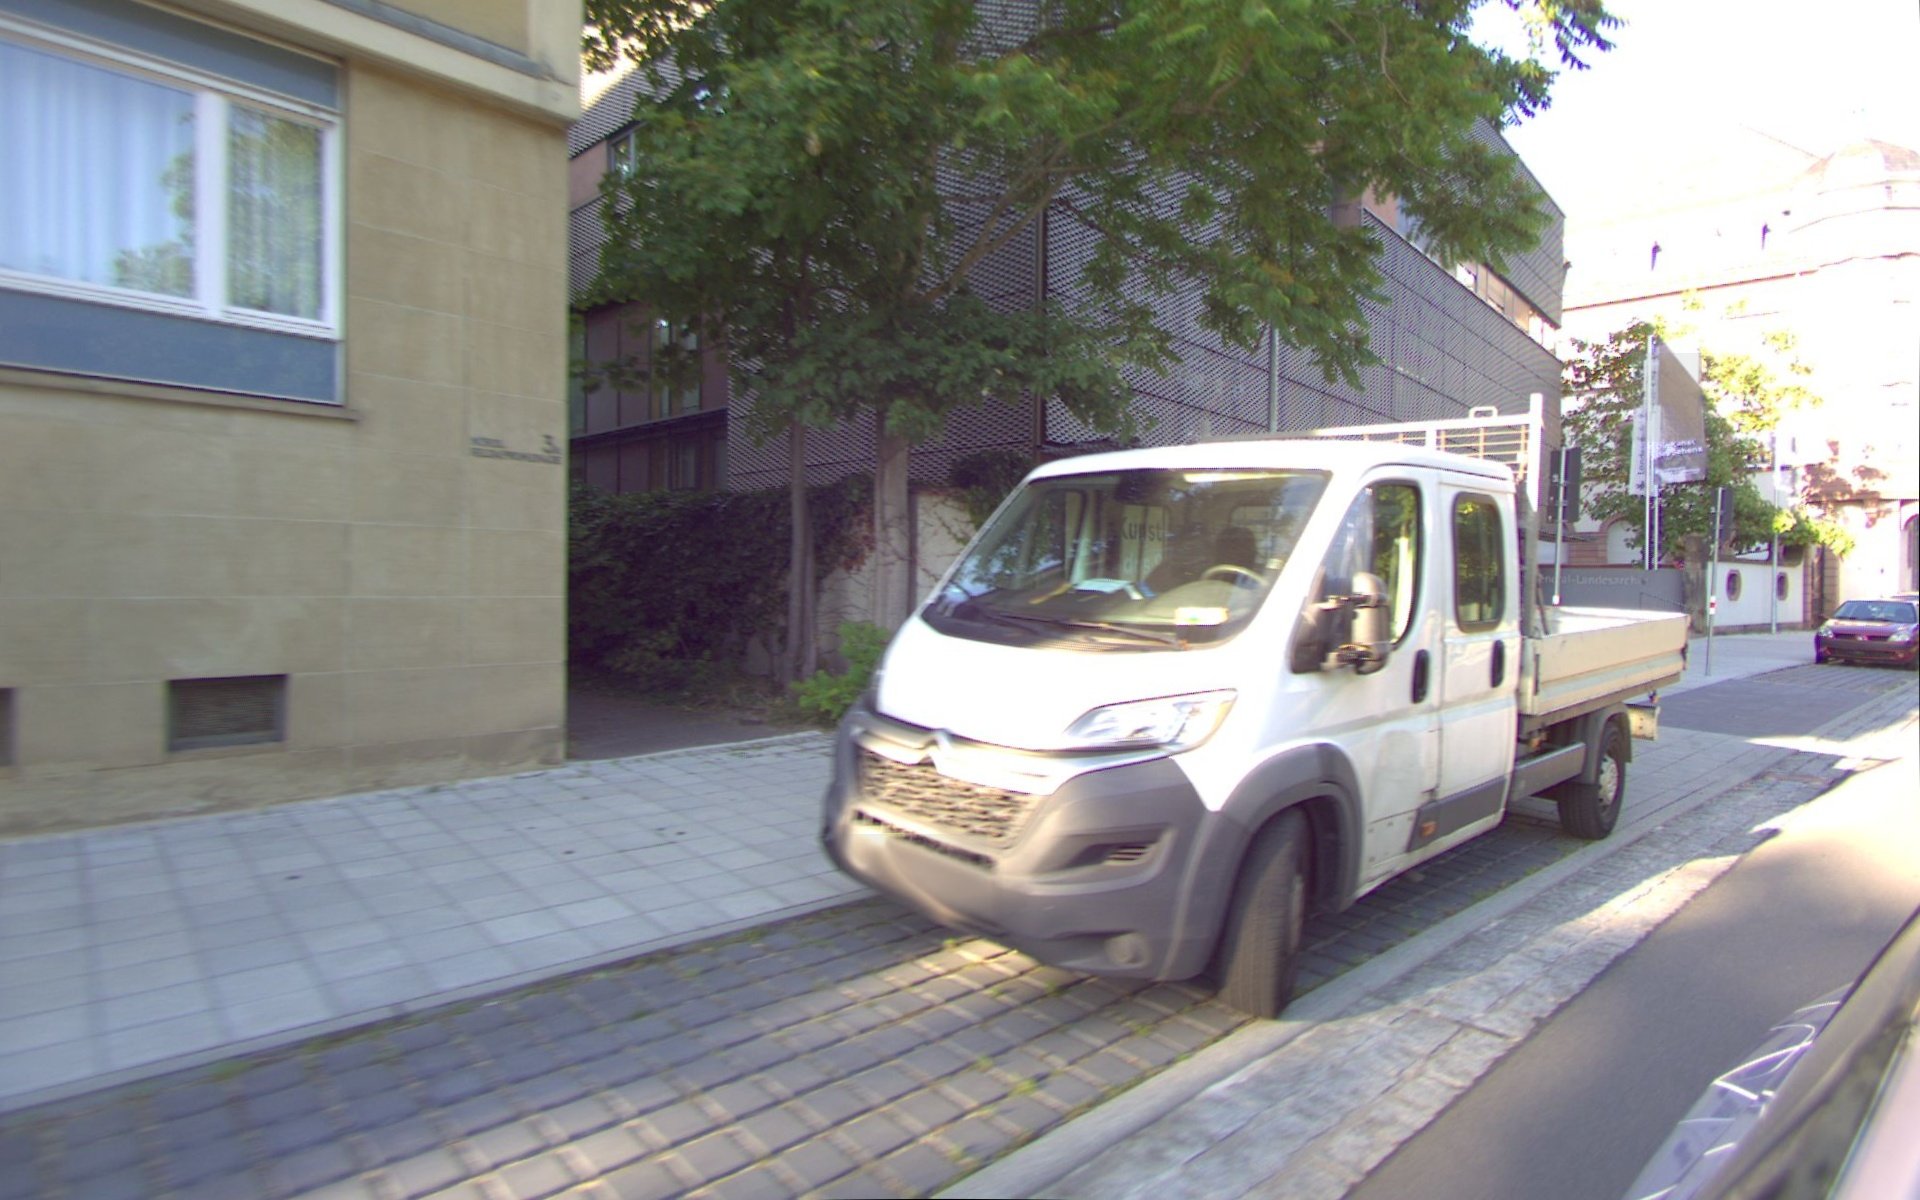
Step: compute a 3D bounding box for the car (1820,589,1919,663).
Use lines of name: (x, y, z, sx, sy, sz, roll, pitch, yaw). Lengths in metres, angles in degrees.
car: (19.462, 0.481, 21.177, 3.484, 1.374, 1.611, -1, 2, -39)

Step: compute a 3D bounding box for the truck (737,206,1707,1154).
truck: (2.230, 0.146, 5.861, 6.761, 2.596, 2.131, -1, 2, -43)

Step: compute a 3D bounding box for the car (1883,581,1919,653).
car: (23.786, 0.387, 24.451, 3.880, 1.638, 1.611, -1, 2, -39)
